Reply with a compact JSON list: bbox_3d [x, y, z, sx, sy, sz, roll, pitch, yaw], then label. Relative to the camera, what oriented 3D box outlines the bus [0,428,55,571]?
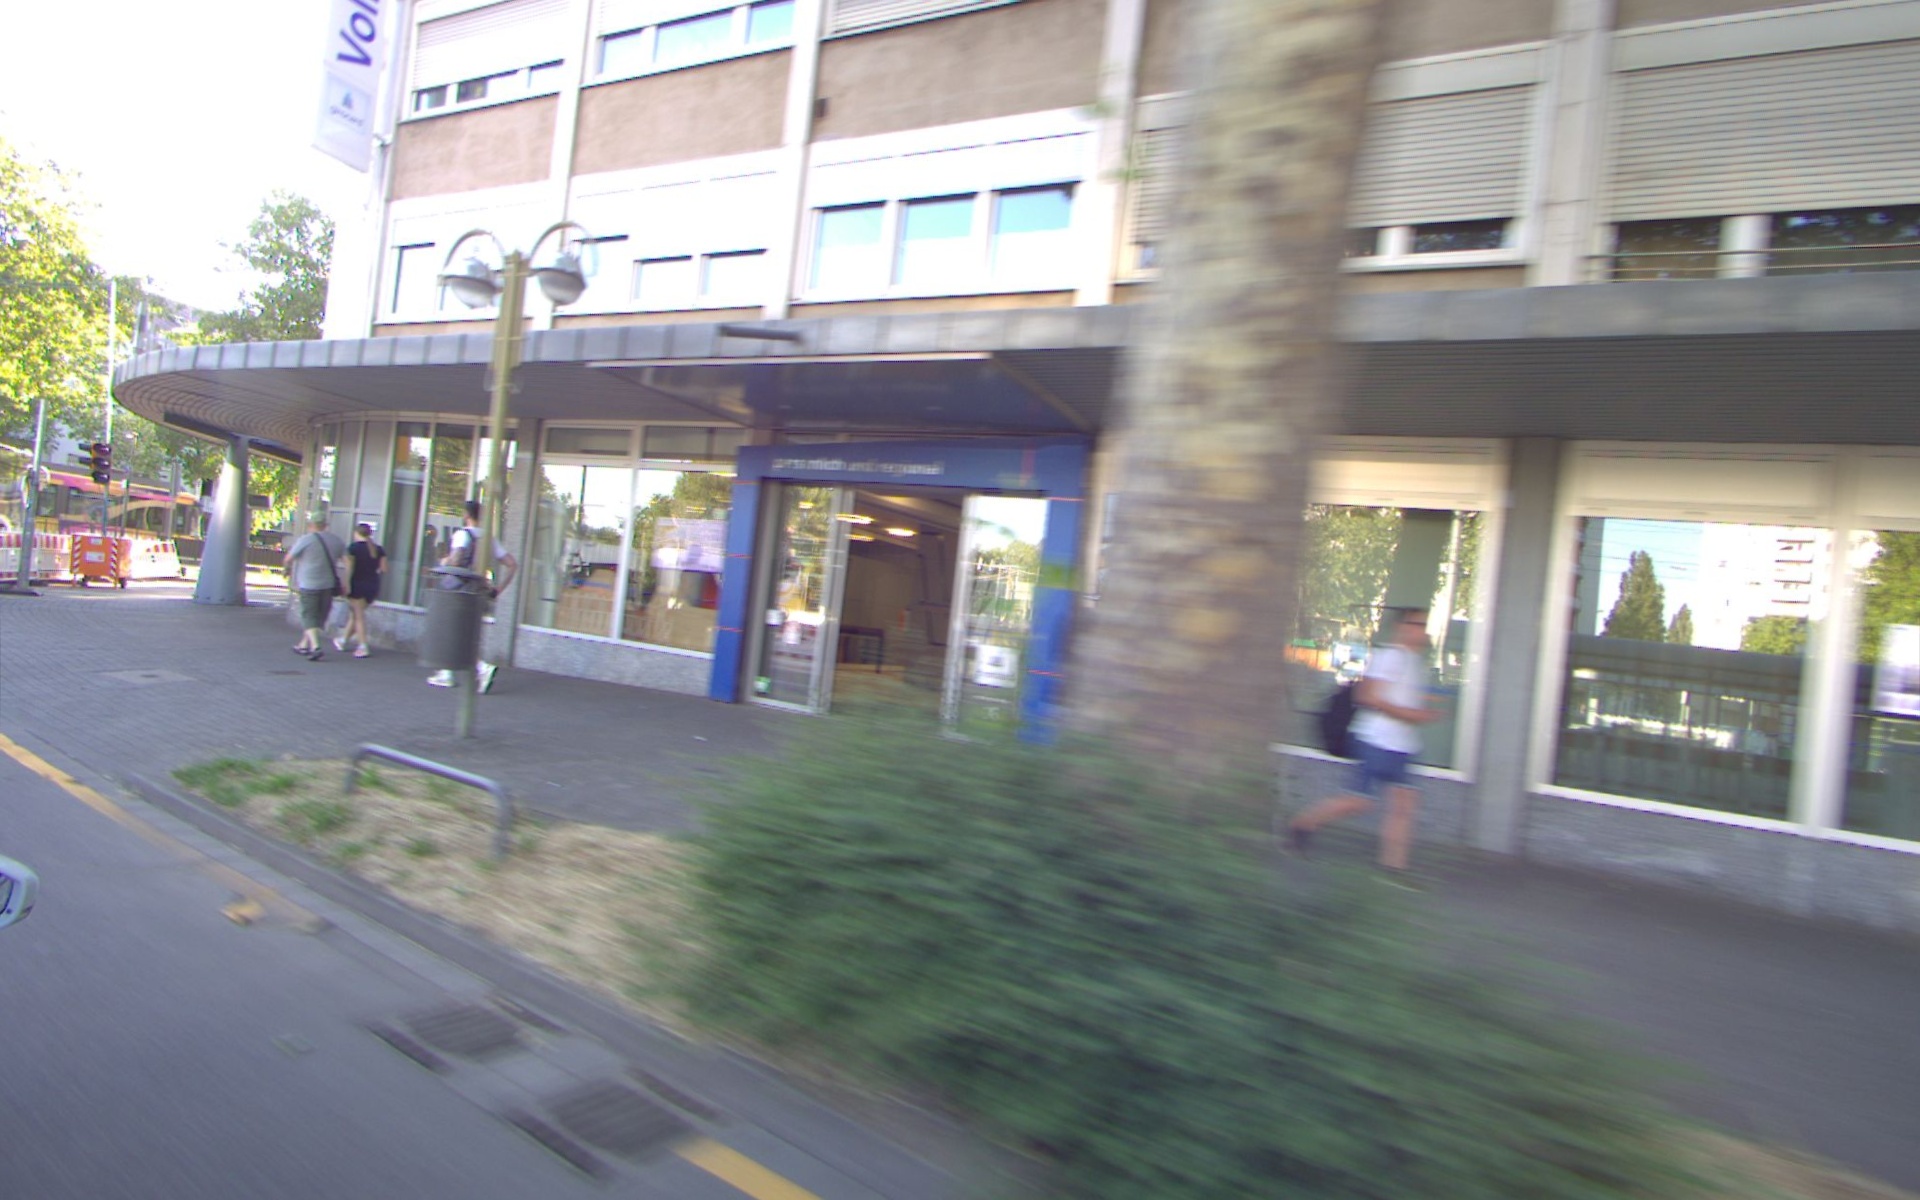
[{"bbox_3d":[-22.768,-2.385,22.147,2.692,3.144,8.899,8,-1,-34],"label":"bus"}]

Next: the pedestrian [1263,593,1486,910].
[{"bbox_3d":[2.629,0.879,6.372,1.052,1.720,0.900,7,3,27],"label":"pedestrian"}]

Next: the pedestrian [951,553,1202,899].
[{"bbox_3d":[0.693,0.661,5.868,1.052,1.733,0.900,7,3,27],"label":"pedestrian"}]

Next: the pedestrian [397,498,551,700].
[{"bbox_3d":[-4.971,-0.028,10.302,1.080,1.895,0.838,7,4,27],"label":"pedestrian"}]

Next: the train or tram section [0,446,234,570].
[{"bbox_3d":[-35.293,-3.770,37.840,2.601,3.559,13.339,6,-2,23],"label":"train or tram section"}]

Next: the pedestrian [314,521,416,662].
[{"bbox_3d":[-7.202,-0.096,12.181,0.761,1.594,0.633,8,2,27],"label":"pedestrian"}]

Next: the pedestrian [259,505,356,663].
[{"bbox_3d":[-7.536,-0.178,11.629,0.667,1.731,0.583,7,3,27],"label":"pedestrian"}]
